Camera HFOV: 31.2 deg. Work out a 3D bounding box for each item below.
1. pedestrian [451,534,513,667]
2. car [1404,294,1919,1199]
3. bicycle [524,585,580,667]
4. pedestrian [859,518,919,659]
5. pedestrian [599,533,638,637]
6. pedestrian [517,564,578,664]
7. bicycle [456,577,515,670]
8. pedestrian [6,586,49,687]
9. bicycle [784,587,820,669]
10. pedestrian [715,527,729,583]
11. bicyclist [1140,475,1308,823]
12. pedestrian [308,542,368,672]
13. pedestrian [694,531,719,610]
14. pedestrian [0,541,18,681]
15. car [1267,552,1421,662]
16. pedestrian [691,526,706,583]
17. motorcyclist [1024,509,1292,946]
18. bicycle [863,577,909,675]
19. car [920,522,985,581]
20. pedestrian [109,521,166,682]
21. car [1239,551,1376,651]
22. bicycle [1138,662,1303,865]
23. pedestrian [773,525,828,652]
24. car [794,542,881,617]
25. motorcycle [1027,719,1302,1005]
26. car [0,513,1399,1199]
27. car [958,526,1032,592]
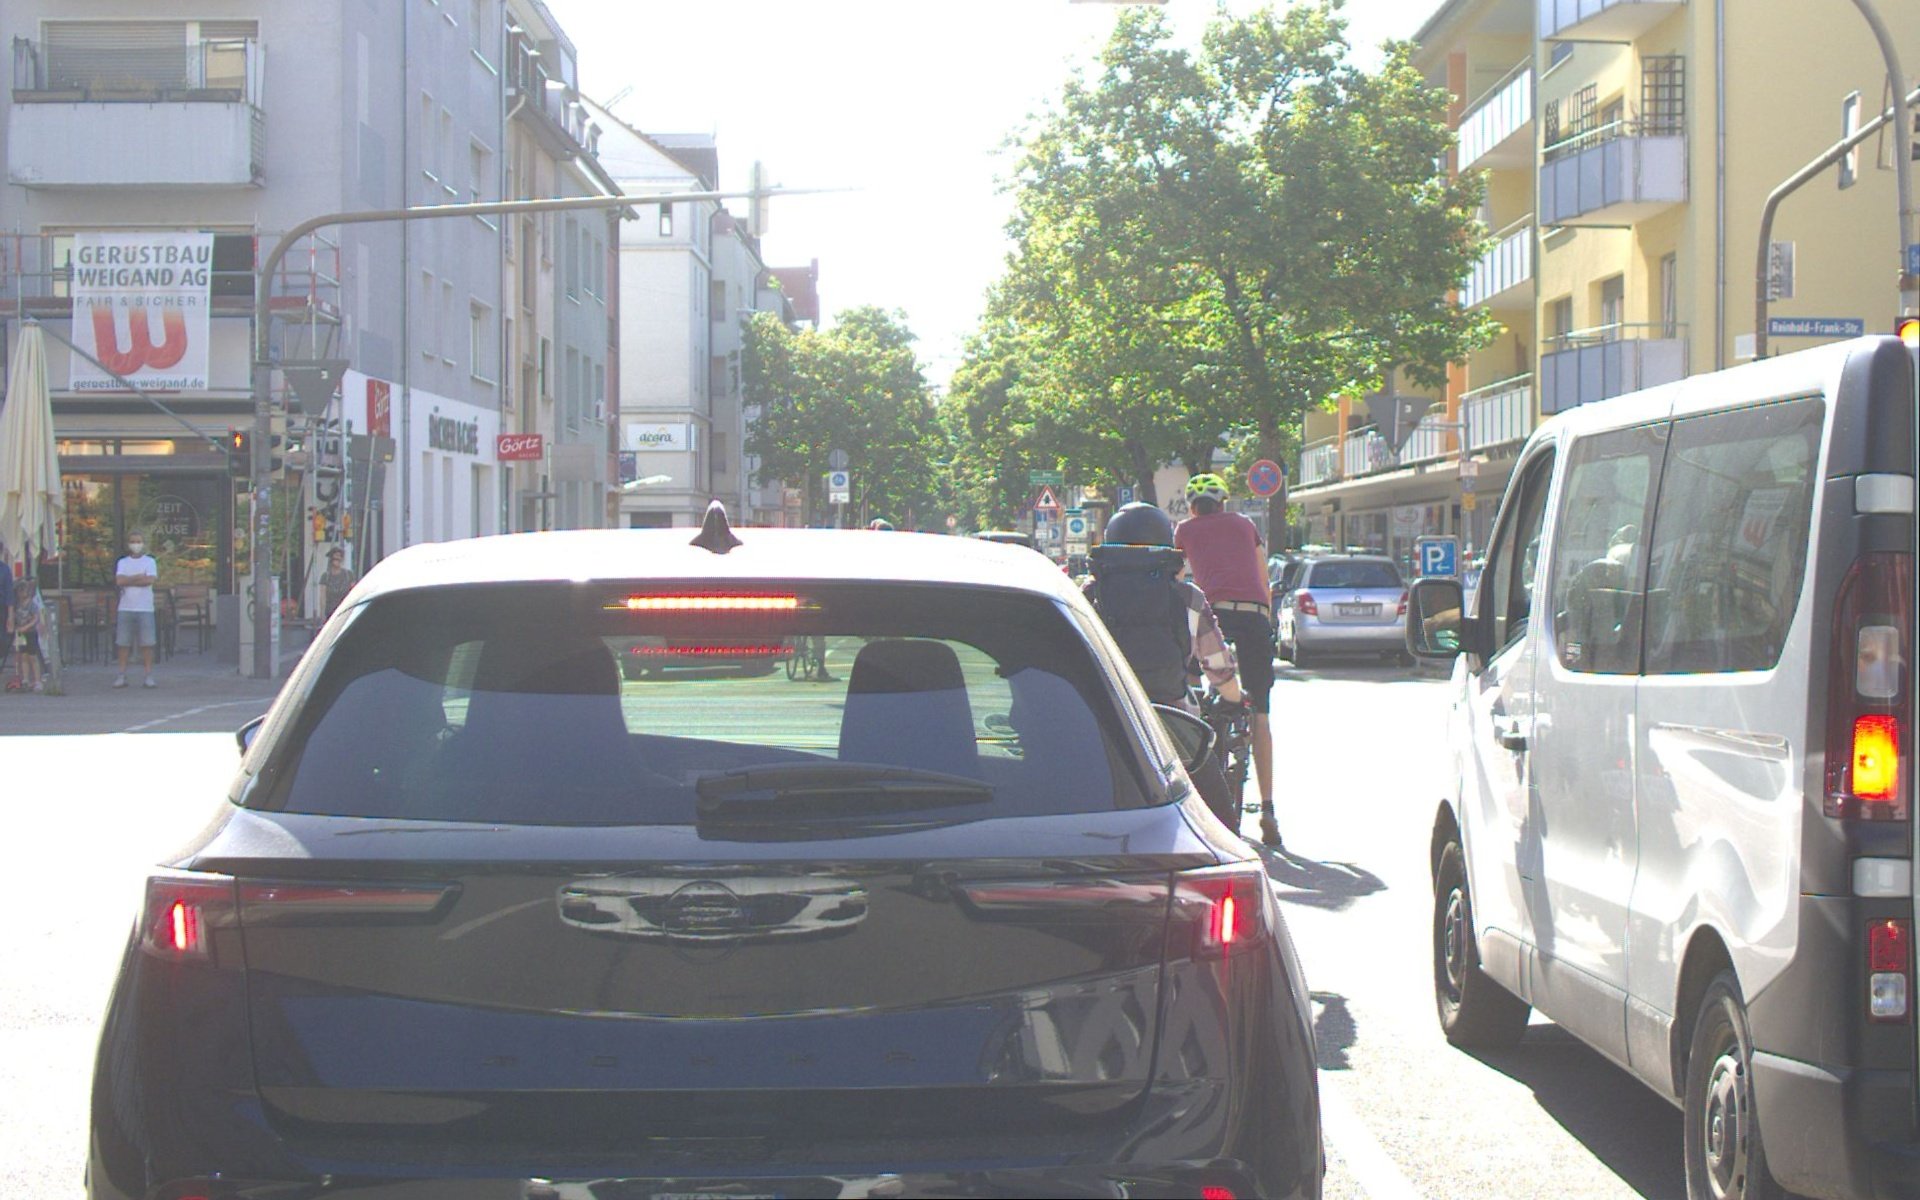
[{"bbox_3d":[-6.058,0.003,43.588,0.707,1.672,0.802,0,1,-2],"label":"pedestrian"},{"bbox_3d":[2.442,0.426,8.501,1.993,1.972,4.895,1,1,0],"label":"car"},{"bbox_3d":[-5.209,0.318,43.965,0.521,0.989,2.340,0,1,-2],"label":"bicycle"},{"bbox_3d":[-0.868,-0.141,41.729,0.707,1.695,0.802,0,1,-2],"label":"pedestrian"},{"bbox_3d":[-5.536,-0.244,55.792,0.570,1.684,0.588,0,1,-1],"label":"pedestrian"},{"bbox_3d":[-5.231,0.168,43.584,0.707,1.249,0.802,0,1,-2],"label":"pedestrian"},{"bbox_3d":[-6.058,0.285,43.957,0.521,1.143,2.284,0,1,-2],"label":"bicycle"},{"bbox_3d":[-10.147,0.396,37.417,0.355,1.088,0.462,0,1,-3],"label":"pedestrian"},{"bbox_3d":[-2.016,0.345,43.886,0.443,0.989,2.069,0,1,-2],"label":"bicycle"},{"bbox_3d":[-7.004,-1.325,101.279,0.402,1.669,0.418,0,1,-1],"label":"pedestrian"},{"bbox_3d":[1.333,0.230,17.602,0.689,1.707,1.414,0,1,-2],"label":"bicyclist"},{"bbox_3d":[-7.353,0.075,40.640,0.617,1.516,0.725,0,1,-3],"label":"pedestrian"},{"bbox_3d":[-5.439,-0.633,73.735,0.488,1.684,0.588,0,1,-1],"label":"pedestrian"},{"bbox_3d":[-10.628,0.112,37.434,0.584,1.516,0.650,0,1,-3],"label":"pedestrian"},{"bbox_3d":[5.236,0.068,47.238,1.634,1.428,3.957,0,1,-1],"label":"car"},{"bbox_3d":[-7.728,-1.347,101.528,0.402,1.669,0.418,0,1,-1],"label":"pedestrian"},{"bbox_3d":[0.691,0.430,12.379,0.864,1.497,1.160,0,1,-2],"label":"motorcyclist"},{"bbox_3d":[-0.911,0.302,41.890,0.521,1.143,2.170,0,1,-2],"label":"bicycle"},{"bbox_3d":[-0.206,-1.455,102.514,1.902,1.722,4.000,0,1,0],"label":"car"},{"bbox_3d":[-9.104,0.015,38.046,0.561,1.769,0.584,0,1,-9],"label":"pedestrian"},{"bbox_3d":[5.209,-0.015,51.937,1.634,1.428,4.000,0,1,-1],"label":"car"},{"bbox_3d":[1.314,0.808,17.687,0.577,0.901,2.301,0,1,-2],"label":"bicycle"},{"bbox_3d":[-2.024,-0.154,43.707,0.680,1.600,0.762,0,1,-2],"label":"pedestrian"},{"bbox_3d":[-2.851,-0.498,80.802,1.825,1.722,4.000,0,1,1],"label":"car"},{"bbox_3d":[0.690,0.892,12.227,0.825,0.842,1.885,0,1,-1],"label":"motorcycle"},{"bbox_3d":[-0.421,0.623,6.285,1.770,1.525,4.001,0,1,-2],"label":"car"},{"bbox_3d":[0.913,-1.105,91.643,1.902,1.722,4.073,0,1,0],"label":"car"}]
